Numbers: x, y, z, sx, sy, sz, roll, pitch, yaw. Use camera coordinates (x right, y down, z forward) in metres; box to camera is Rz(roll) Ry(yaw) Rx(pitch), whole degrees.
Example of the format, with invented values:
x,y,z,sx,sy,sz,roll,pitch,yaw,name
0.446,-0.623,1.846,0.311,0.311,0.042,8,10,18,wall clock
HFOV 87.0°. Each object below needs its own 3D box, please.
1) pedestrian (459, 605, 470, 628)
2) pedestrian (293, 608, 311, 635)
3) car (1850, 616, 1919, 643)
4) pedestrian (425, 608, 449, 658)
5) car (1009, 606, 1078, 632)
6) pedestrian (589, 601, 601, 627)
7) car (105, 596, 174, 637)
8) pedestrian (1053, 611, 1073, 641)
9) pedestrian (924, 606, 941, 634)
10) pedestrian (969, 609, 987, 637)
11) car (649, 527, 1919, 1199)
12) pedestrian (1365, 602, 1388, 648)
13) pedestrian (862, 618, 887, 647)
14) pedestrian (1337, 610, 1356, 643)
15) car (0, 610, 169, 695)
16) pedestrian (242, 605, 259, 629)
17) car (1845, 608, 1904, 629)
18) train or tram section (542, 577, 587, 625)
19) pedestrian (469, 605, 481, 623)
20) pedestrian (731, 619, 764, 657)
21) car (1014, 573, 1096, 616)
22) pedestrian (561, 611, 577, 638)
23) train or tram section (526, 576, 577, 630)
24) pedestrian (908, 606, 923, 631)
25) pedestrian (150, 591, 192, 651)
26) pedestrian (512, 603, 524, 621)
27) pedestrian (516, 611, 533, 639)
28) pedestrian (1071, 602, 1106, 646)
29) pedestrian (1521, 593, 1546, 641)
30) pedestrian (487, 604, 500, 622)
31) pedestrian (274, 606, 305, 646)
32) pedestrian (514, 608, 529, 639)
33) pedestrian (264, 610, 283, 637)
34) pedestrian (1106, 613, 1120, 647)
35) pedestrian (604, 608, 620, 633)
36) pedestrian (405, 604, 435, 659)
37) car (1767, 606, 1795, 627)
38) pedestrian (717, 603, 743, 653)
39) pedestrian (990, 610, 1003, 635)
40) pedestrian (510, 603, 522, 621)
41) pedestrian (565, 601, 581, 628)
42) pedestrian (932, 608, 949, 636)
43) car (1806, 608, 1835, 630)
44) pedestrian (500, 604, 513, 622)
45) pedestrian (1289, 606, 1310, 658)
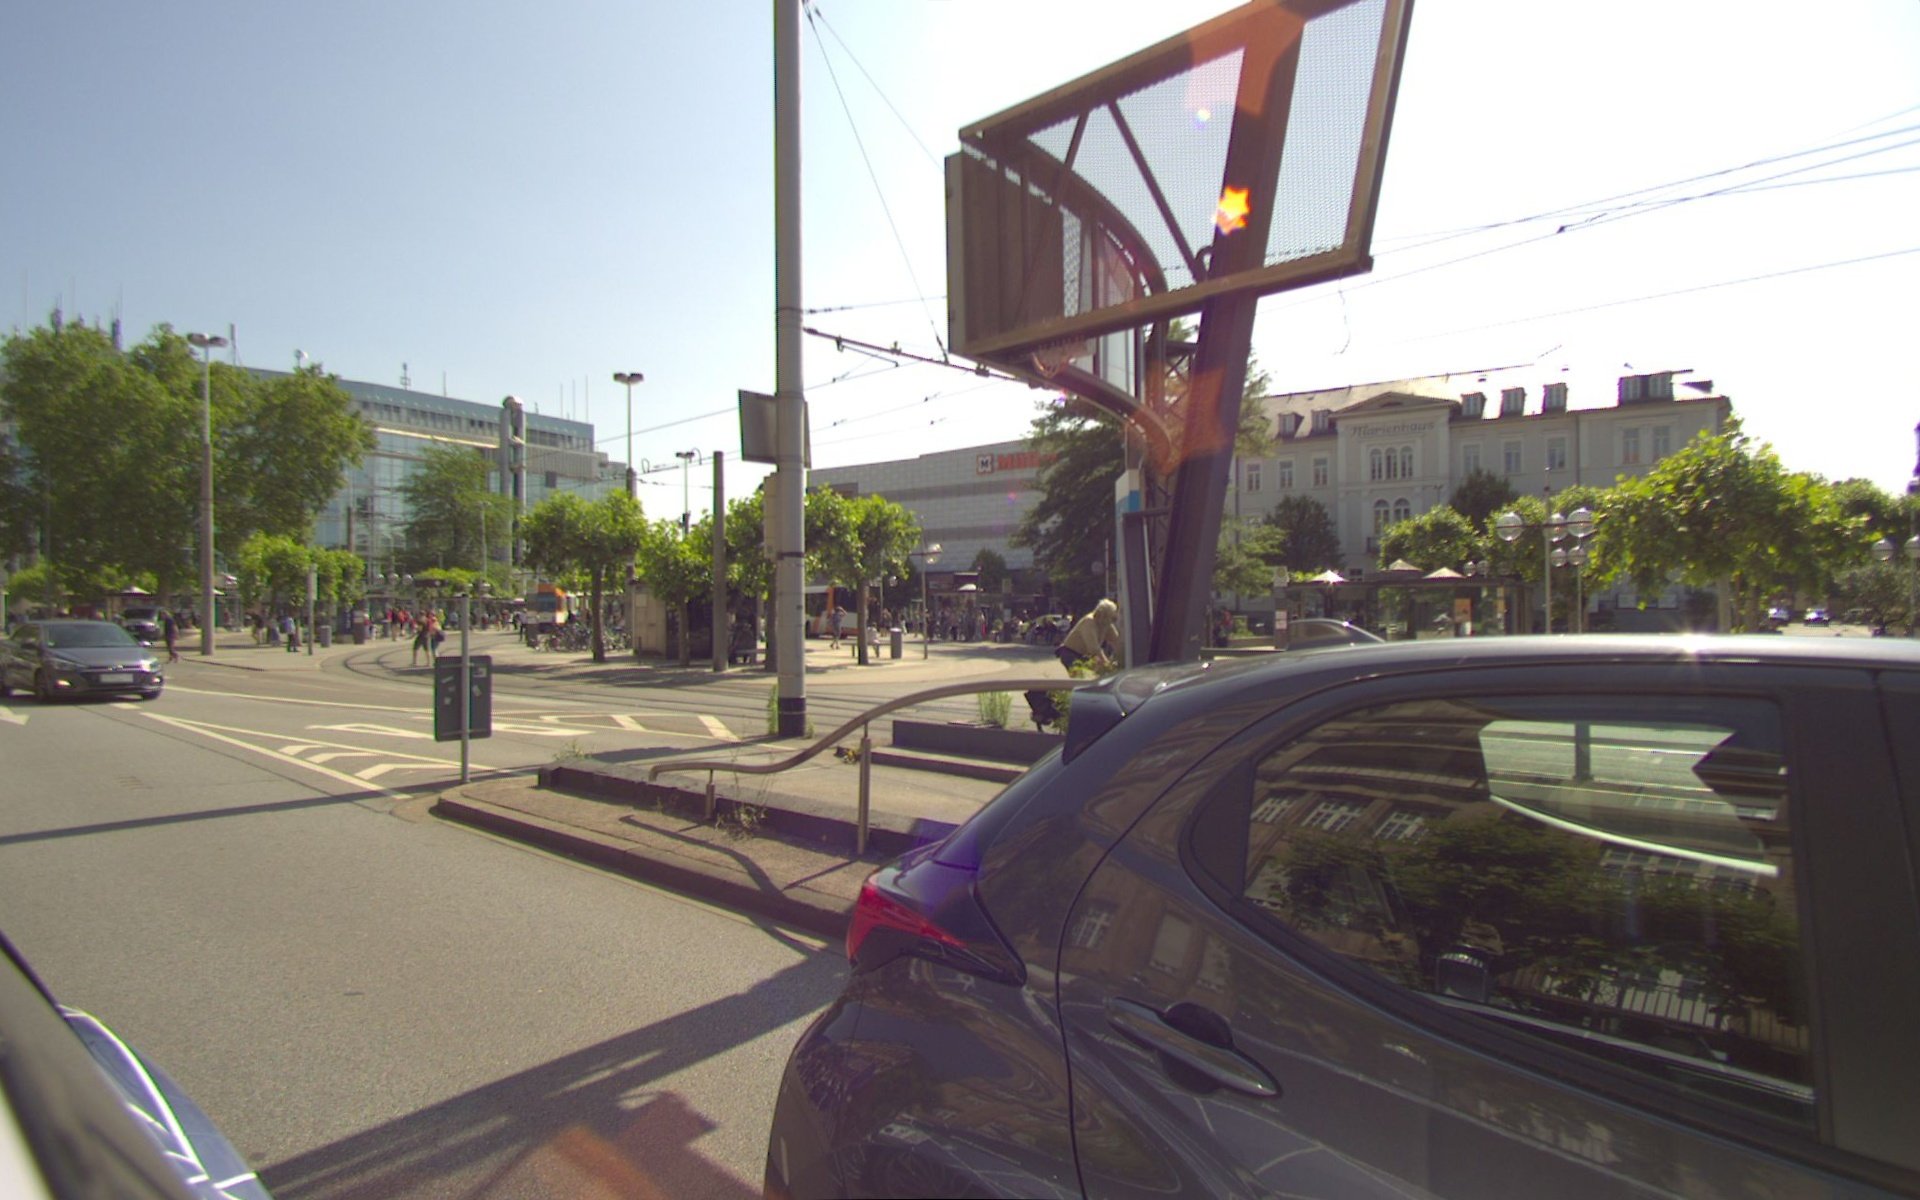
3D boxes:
x,y,z,sx,sy,sz,roll,pitch,yaw,name
-34.309,1.117,70.109,0.448,1.561,0.474,0,-3,14,pedestrian
-36.293,1.181,55.838,0.716,1.476,0.682,-2,-1,-29,pedestrian
72.427,2.297,79.318,3.997,1.929,1.973,-1,1,41,car
-17.189,1.086,33.273,0.518,1.621,0.627,3,-4,-40,pedestrian
5.296,1.191,64.367,3.991,1.519,1.740,-1,1,35,car
-24.843,0.963,68.851,0.462,1.731,0.555,0,-3,18,pedestrian
-44.836,0.850,55.413,1.966,2.029,5.083,-2,1,-28,car
4.440,1.110,43.738,0.613,1.273,0.583,3,-4,-40,pedestrian
-1.531,1.110,55.699,0.679,1.477,0.617,-2,-4,38,pedestrian
0.946,1.232,53.373,0.616,1.477,0.681,4,-4,-45,pedestrian
1.524,0.708,1.172,3.998,1.486,1.759,-1,-2,41,car
16.222,0.974,39.427,0.618,1.742,0.733,-1,-3,40,pedestrian
-3.015,1.144,35.587,0.580,1.008,0.627,-2,-4,43,pedestrian
15.924,1.091,41.720,0.598,1.369,0.562,-1,-3,40,pedestrian
-16.443,0.896,18.794,3.990,1.415,1.680,0,-1,35,car
-53.145,1.254,75.822,0.780,1.760,0.744,-1,1,31,pedestrian
85.328,1.710,94.536,3.997,1.929,1.973,-1,1,41,car
-33.932,0.045,87.134,2.578,3.856,9.547,-2,1,-16,train or tram section
-40.408,1.161,84.335,0.555,1.483,0.748,-1,1,40,pedestrian
-6.697,1.208,31.871,0.751,1.180,0.669,-1,-4,35,pedestrian
6.591,-0.365,70.532,5.386,2.909,1.936,-1,1,35,car
-21.119,1.309,54.674,0.617,1.429,0.680,0,-1,3,pedestrian
-31.330,0.139,77.957,2.578,3.856,9.547,-2,1,-16,train or tram section
-2.700,1.144,61.822,0.680,1.477,0.616,-2,-4,43,pedestrian
-26.770,0.717,34.368,0.670,2.023,0.895,1,-2,-3,pedestrian
-37.814,1.039,86.616,0.555,1.483,0.748,-1,1,40,pedestrian
-23.436,1.364,54.441,0.549,1.477,0.621,0,-3,18,pedestrian
5.393,1.007,42.469,0.953,1.807,1.082,3,-4,-40,pedestrian
24.826,0.735,43.808,0.830,2.023,0.595,-1,-3,38,pedestrian
-39.084,1.112,84.781,0.555,1.483,0.748,-1,1,40,pedestrian
-28.286,1.076,42.713,0.678,1.671,0.885,-1,-1,31,pedestrian
-23.868,1.294,55.082,0.518,1.678,0.469,0,-3,19,pedestrian
-32.564,1.120,48.005,0.568,1.243,0.555,0,-1,-15,pedestrian
5.874,1.157,38.843,0.479,1.273,0.400,-1,-3,22,pedestrian
-22.059,1.305,64.121,0.675,1.513,0.621,0,-3,19,pedestrian
-17.415,1.023,32.644,0.581,1.747,0.524,0,-3,11,pedestrian
78.167,1.522,96.355,1.998,1.807,3.948,-1,1,39,car
-7.567,0.918,33.297,0.597,1.621,0.574,0,-3,12,pedestrian
1.885,1.190,52.631,0.511,1.273,0.453,4,-4,-45,pedestrian
-38.232,1.037,87.069,0.555,1.483,0.748,-1,1,40,pedestrian
-25.674,0.975,67.155,0.675,1.809,0.621,0,-3,19,pedestrian
-1.057,1.197,54.876,0.679,1.477,0.617,-1,-4,36,pedestrian
82.125,1.755,96.547,2.000,1.929,3.945,-1,1,42,car
-38.162,1.078,85.141,0.555,1.483,0.748,-1,1,40,pedestrian
11.465,1.083,34.182,0.674,1.719,0.701,0,-3,20,pedestrian
